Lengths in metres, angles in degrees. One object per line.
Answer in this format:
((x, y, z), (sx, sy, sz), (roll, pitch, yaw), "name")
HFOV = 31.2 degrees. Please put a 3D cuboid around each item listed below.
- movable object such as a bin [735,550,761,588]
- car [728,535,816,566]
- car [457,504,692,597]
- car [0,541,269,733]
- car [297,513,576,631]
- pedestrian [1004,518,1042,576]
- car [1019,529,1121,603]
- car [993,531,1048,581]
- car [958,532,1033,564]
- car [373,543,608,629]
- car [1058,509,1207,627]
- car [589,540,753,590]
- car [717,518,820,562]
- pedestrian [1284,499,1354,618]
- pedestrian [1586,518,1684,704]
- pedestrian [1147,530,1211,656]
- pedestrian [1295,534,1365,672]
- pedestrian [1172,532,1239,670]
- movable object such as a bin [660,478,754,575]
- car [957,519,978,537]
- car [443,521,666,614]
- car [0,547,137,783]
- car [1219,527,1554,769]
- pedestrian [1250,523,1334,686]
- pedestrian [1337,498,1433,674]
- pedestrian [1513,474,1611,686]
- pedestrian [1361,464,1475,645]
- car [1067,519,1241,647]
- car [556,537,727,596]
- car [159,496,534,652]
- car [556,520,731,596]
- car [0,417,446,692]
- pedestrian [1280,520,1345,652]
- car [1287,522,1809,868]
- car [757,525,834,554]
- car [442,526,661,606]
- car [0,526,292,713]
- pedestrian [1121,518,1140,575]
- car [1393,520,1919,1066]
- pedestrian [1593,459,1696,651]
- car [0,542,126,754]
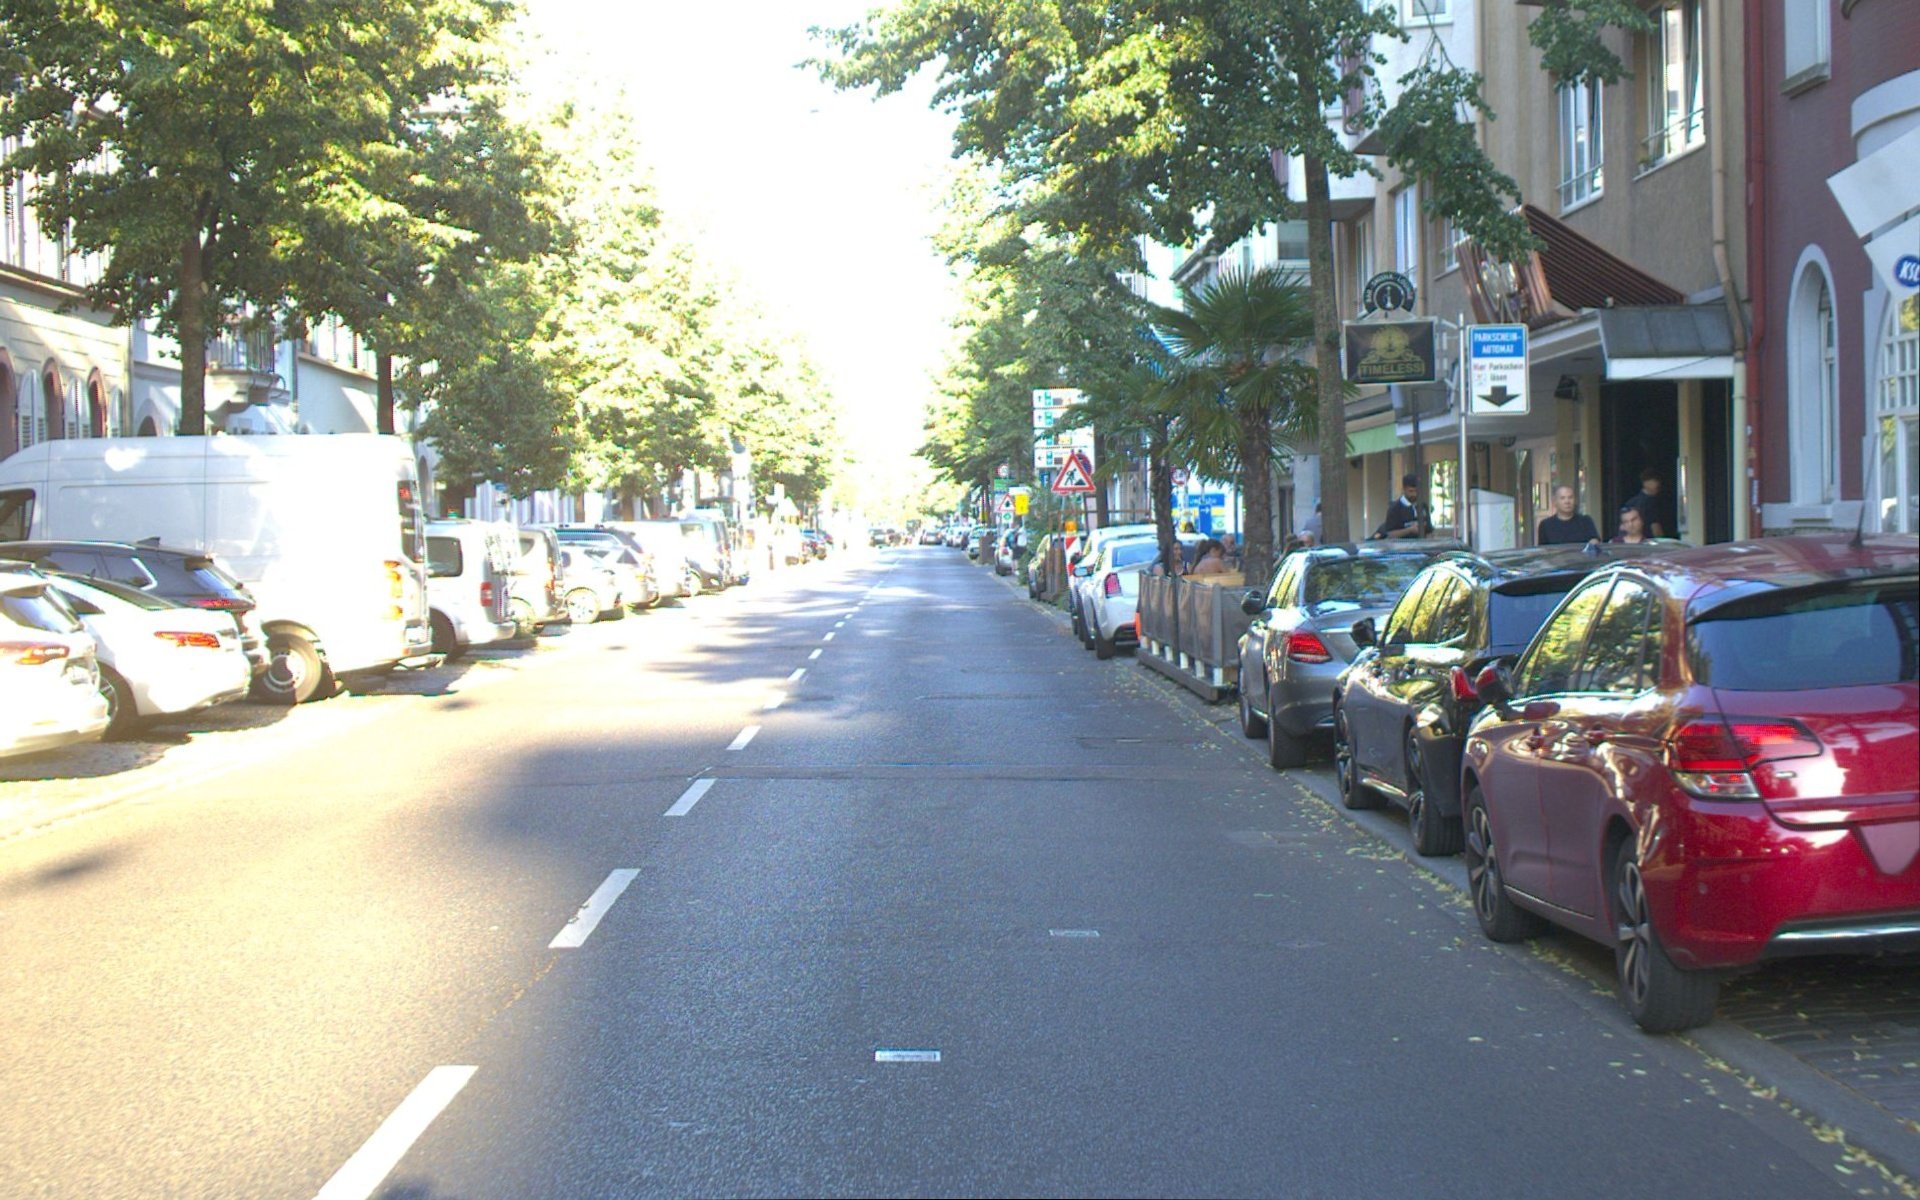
((-6.341, -0.928, 102.822), (0.690, 1.101, 0.883), (-2, 1, 1), "movable object such as a bin")
((-9.804, -2.586, 179.525), (4.442, 1.562, 1.919), (0, 1, 0), "car")
((-8.357, -1.083, 74.818), (4.870, 1.901, 1.974), (-1, 1, 0), "car")
((-7.936, 0.271, 28.112), (4.213, 1.501, 1.793), (0, 1, -1), "car")
((-8.354, -0.455, 55.055), (4.138, 1.800, 1.807), (-1, 1, 1), "car")
((2.056, -1.734, 111.855), (1.013, 1.819, 0.780), (-3, 1, -10), "pedestrian")
((2.394, -0.773, 75.809), (1.828, 1.483, 4.850), (-3, 1, -2), "car")
((2.036, -1.522, 117.213), (1.687, 1.569, 4.013), (-3, 1, 0), "car")
((1.819, -2.619, 173.812), (1.674, 1.583, 3.814), (1, 1, 42), "car")
((-8.442, -0.269, 62.048), (4.058, 1.456, 1.686), (-1, 1, -3), "car")
((2.514, -0.503, 51.079), (1.879, 1.568, 4.692), (-3, 1, 0), "car")
((-8.454, -1.035, 100.793), (4.594, 1.465, 1.892), (0, 1, 3), "car")
((-8.628, -2.706, 155.254), (4.571, 1.955, 1.991), (0, 1, -1), "car")
((5.528, -0.638, 52.933), (0.855, 1.788, 0.997), (-2, 1, -4), "pedestrian")
((5.532, 0.085, 28.188), (0.624, 1.483, 0.640), (-2, 1, 0), "pedestrian")
((2.370, -0.082, 37.200), (0.577, 1.315, 0.704), (-3, 1, 0), "pedestrian")
((3.808, 0.028, 35.432), (0.577, 1.380, 0.718), (-3, 1, 0), "pedestrian")
((2.535, 0.003, 35.506), (0.577, 1.380, 0.603), (-3, 1, 0), "pedestrian")
((-7.975, -2.310, 108.924), (2.625, 2.959, 5.304), (-1, 1, -1), "movable object such as a bin")
((0.525, -5.282, 253.171), (1.513, 1.271, 3.304), (0, 0, 1), "car")
((-8.488, -0.688, 72.181), (4.428, 1.863, 1.894), (-1, 1, 0), "car")
((-7.751, 0.383, 22.686), (4.185, 1.477, 1.970), (0, 1, -1), "car")
((2.891, 0.255, 24.298), (1.774, 1.435, 5.000), (-3, 1, 1), "car")
((3.094, 0.033, 32.078), (0.631, 1.480, 0.795), (-3, 1, 0), "pedestrian")
((3.964, -0.137, 32.103), (0.708, 1.593, 0.795), (-3, 1, 0), "pedestrian")
((4.867, -0.168, 27.815), (0.624, 1.671, 0.640), (-2, 1, 0), "pedestrian")
((4.890, -0.490, 36.691), (0.801, 1.876, 0.876), (0, 3, 43), "pedestrian")
((2.480, -0.260, 45.075), (1.842, 1.475, 5.190), (-3, 1, -1), "car")
((-8.163, -0.860, 88.213), (4.325, 1.496, 1.842), (0, 1, -5), "car")
((-7.939, -0.349, 44.782), (4.500, 1.947, 1.919), (0, 1, 2), "car")
((-8.484, -1.137, 92.357), (4.483, 1.969, 2.068), (0, 1, 0), "car")
((-8.103, -0.470, 34.155), (5.658, 2.612, 2.171), (0, 1, 0), "car")
((3.794, -0.157, 37.025), (0.577, 1.380, 0.603), (-3, 1, 0), "pedestrian")
((2.872, 0.388, 17.762), (1.774, 1.465, 4.418), (-3, 1, -1), "car")
((-9.701, -3.575, 203.416), (4.442, 1.753, 1.919), (0, 1, 0), "car")
((-7.944, -0.668, 67.072), (4.037, 1.478, 1.963), (-1, 1, -1), "car")
((-8.275, 0.142, 30.696), (4.213, 1.594, 1.975), (0, 1, 1), "car")
((5.665, -1.785, 114.232), (0.460, 1.869, 0.501), (-2, 1, -15), "pedestrian")
((2.797, 0.506, 12.284), (1.722, 1.487, 4.753), (-3, 1, -1), "car")
((6.873, -0.455, 34.505), (0.800, 1.876, 0.877), (-1, 3, 23), "pedestrian")
((-8.161, 0.315, 25.588), (3.408, 1.505, 1.846), (1, 1, 3), "car")
